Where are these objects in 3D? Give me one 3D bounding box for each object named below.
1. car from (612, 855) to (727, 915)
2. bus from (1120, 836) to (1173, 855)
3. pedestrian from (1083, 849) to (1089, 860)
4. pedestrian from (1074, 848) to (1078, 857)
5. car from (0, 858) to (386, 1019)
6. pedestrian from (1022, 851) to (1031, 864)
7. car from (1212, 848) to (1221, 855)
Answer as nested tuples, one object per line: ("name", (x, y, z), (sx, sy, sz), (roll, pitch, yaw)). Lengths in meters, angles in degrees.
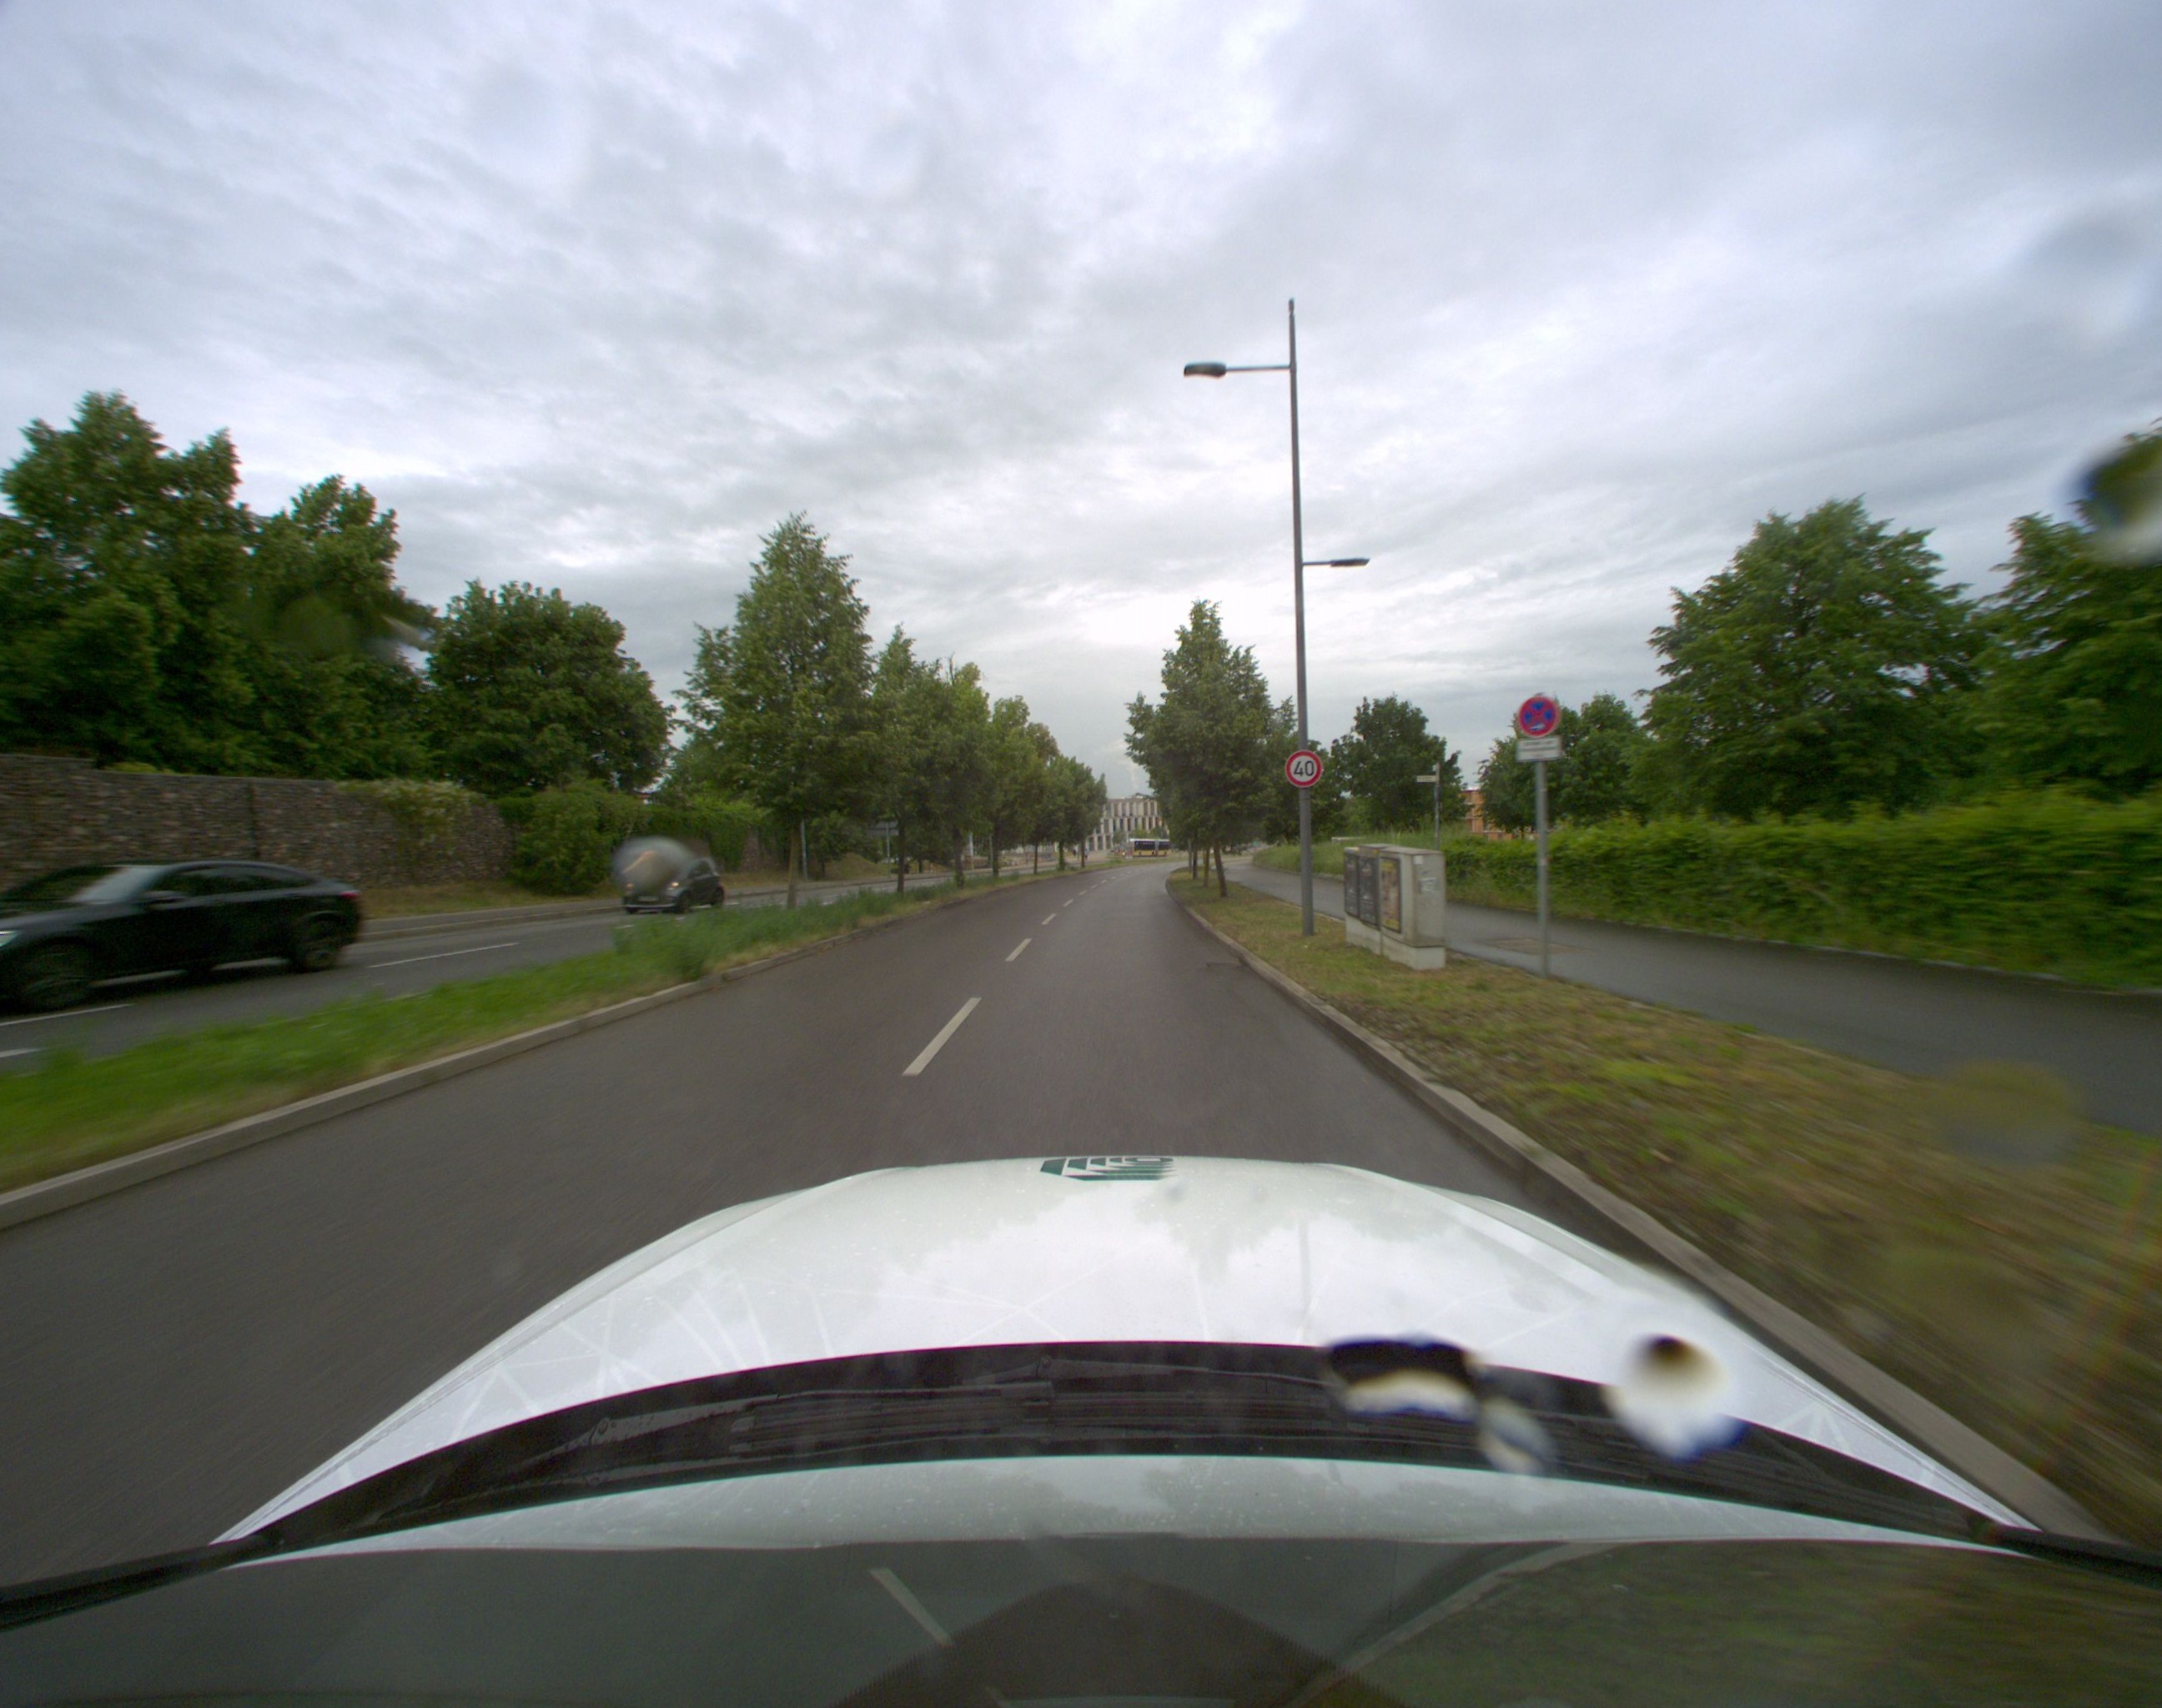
("car", (-11.716, 0.829, 23.395), (1.679, 1.539, 2.918), (-1, 1, 2))
("bus", (12.957, -1.557, 158.322), (2.758, 3.357, 18.338), (-2, -1, 29))
("pedestrian", (0.752, 0.075, 118.320), (0.832, 1.573, 0.718), (-1, -1, -3))
("pedestrian", (-0.901, -0.272, 141.158), (0.679, 1.524, 0.720), (-1, -1, 3))
("car", (-11.699, 0.864, 10.162), (1.874, 1.595, 4.767), (0, 0, 1))
("pedestrian", (-6.804, 0.428, 101.348), (0.808, 1.621, 0.939), (-1, -1, 14))
("car", (32.668, -0.599, 196.796), (1.464, 1.494, 2.545), (-2, -1, 27))
